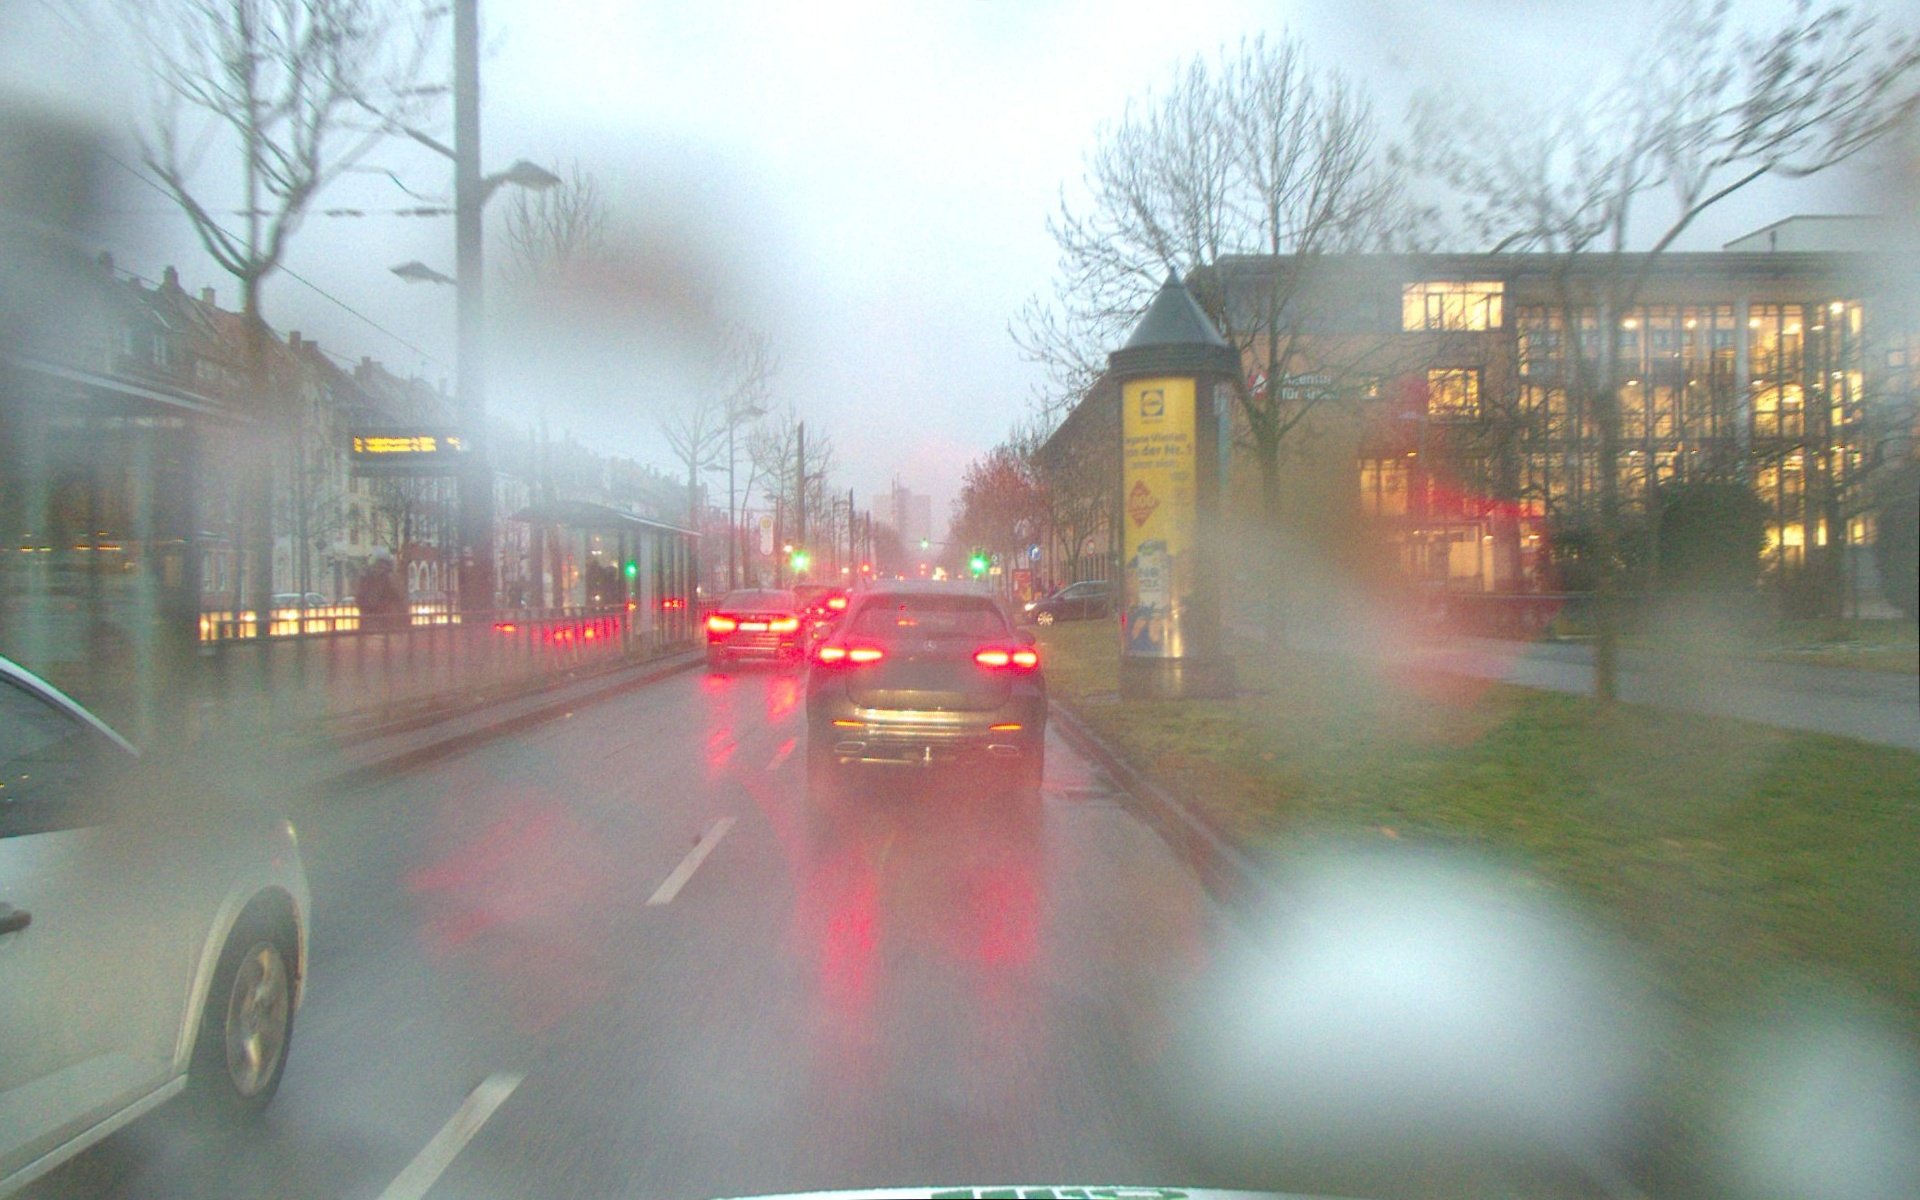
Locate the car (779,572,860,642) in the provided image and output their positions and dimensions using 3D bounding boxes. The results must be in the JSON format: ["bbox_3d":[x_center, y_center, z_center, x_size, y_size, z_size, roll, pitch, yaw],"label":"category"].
[{"bbox_3d":[-3.825,0.165,45.724,1.953,1.796,3.999,-1,1,-2],"label":"car"}]

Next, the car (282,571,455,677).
[{"bbox_3d":[-11.338,0.423,32.002,1.953,1.854,3.999,-2,0,-2],"label":"car"}]

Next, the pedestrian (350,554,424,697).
[{"bbox_3d":[-6.699,0.298,19.359,0.697,1.634,0.745,0,0,-11],"label":"pedestrian"}]

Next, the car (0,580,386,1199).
[{"bbox_3d":[-2.596,0.745,3.263,1.593,1.513,3.999,-1,1,-2],"label":"car"}]

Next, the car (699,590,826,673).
[{"bbox_3d":[-3.710,0.550,31.677,1.953,1.422,4.000,-1,1,-1],"label":"car"}]

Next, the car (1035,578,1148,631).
[{"bbox_3d":[4.614,0.146,58.517,3.781,1.587,1.765,-3,0,0],"label":"car"}]

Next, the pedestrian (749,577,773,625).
[{"bbox_3d":[-6.683,0.034,55.575,0.684,1.579,0.668,-1,0,-1],"label":"pedestrian"}]

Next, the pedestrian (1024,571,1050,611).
[{"bbox_3d":[3.159,-0.375,67.845,0.887,1.624,0.499,-1,0,41],"label":"pedestrian"}]

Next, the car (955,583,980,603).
[{"bbox_3d":[0.648,-0.596,141.449,1.953,1.626,3.999,-2,0,-2],"label":"car"}]

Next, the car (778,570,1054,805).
[{"bbox_3d":[-0.367,0.607,13.913,1.950,1.644,3.999,-1,1,-2],"label":"car"}]

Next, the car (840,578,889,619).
[{"bbox_3d":[-4.088,-0.088,71.011,1.953,1.646,3.999,-1,1,-2],"label":"car"}]

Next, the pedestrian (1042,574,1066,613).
[{"bbox_3d":[3.971,-0.263,70.029,0.887,1.624,0.499,-1,0,41],"label":"pedestrian"}]
